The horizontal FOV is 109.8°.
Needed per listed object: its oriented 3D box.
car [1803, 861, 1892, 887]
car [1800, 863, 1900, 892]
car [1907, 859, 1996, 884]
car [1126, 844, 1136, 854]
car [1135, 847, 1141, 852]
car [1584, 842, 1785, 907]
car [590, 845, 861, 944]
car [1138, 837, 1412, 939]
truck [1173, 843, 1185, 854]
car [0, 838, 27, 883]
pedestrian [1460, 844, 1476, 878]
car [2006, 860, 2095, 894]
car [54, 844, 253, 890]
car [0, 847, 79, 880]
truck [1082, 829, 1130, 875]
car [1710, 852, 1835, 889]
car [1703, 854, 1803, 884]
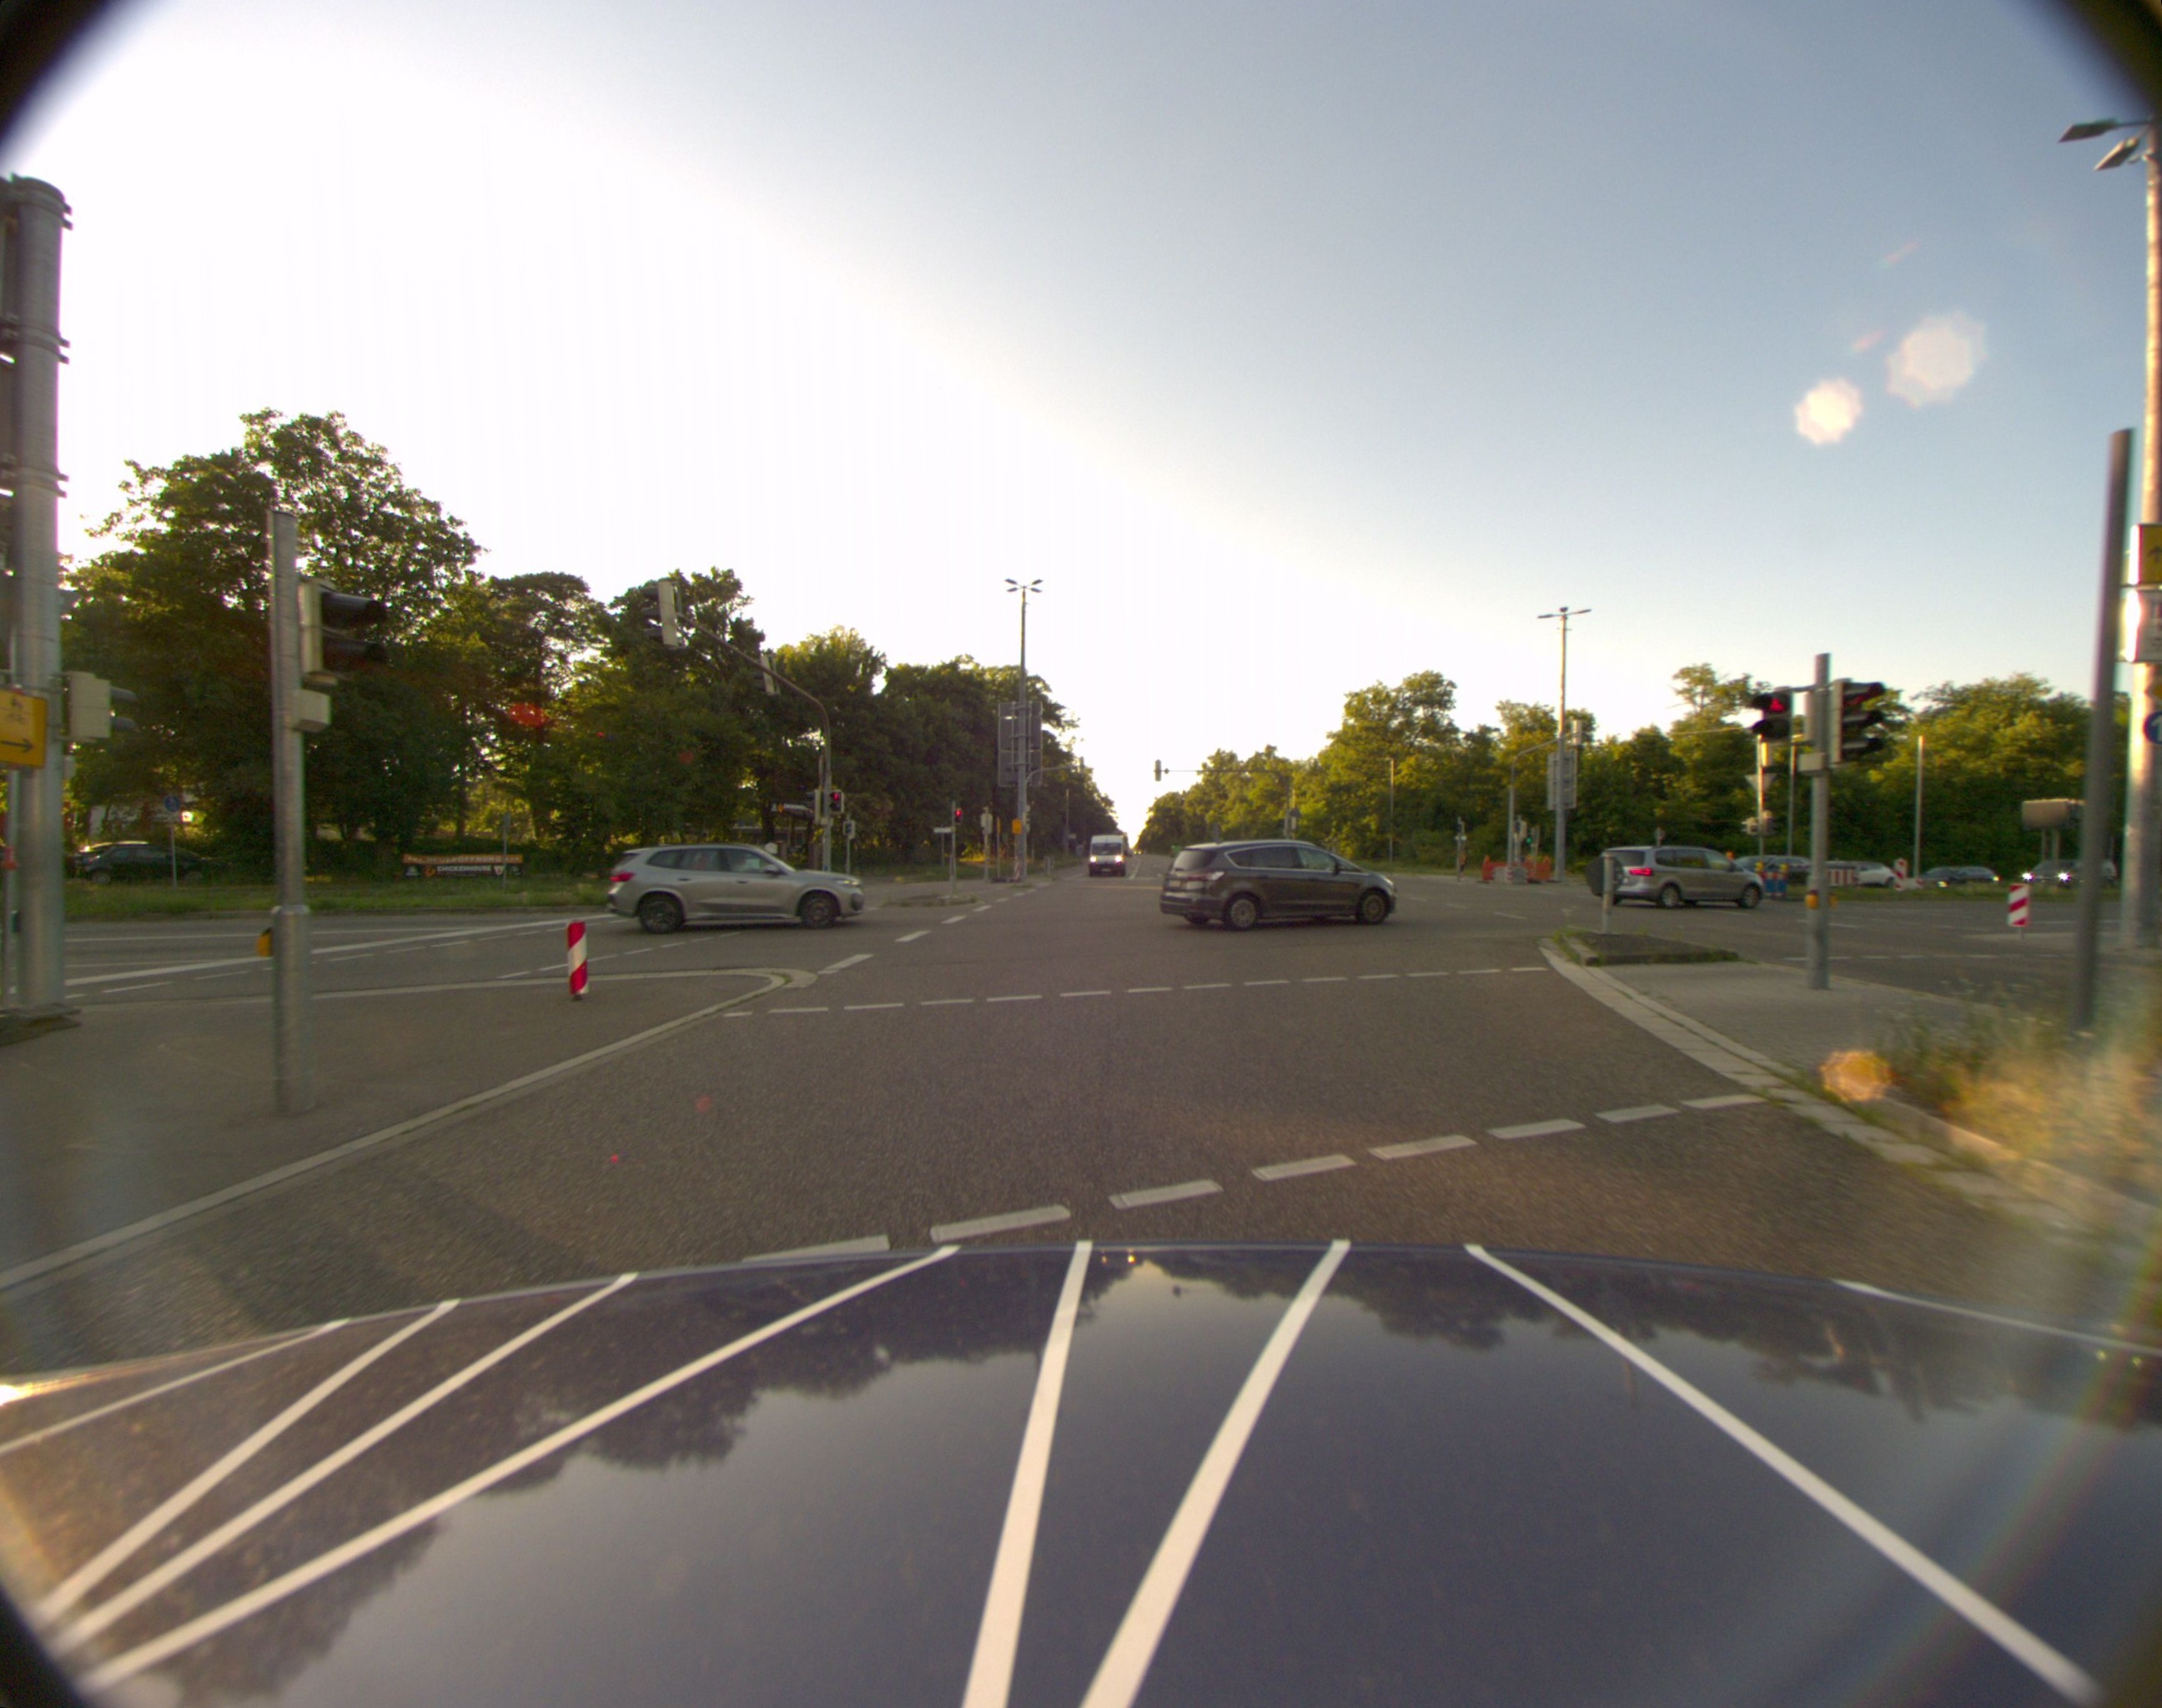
[{"bbox_3d":[45.259,1.183,44.888,4.235,1.447,1.720,0,1,-13],"label":"car"},{"bbox_3d":[40.454,1.213,39.993,4.235,1.447,1.720,0,1,-13],"label":"car"},{"bbox_3d":[53.422,1.075,46.645,4.403,1.447,1.720,0,1,-13],"label":"car"},{"bbox_3d":[10.645,-1.087,161.799,1.998,2.003,3.998,0,2,1],"label":"car"},{"bbox_3d":[19.463,-1.538,259.222,1.845,1.587,4.207,0,2,3],"label":"car"},{"bbox_3d":[16.955,0.547,21.433,4.661,1.714,1.870,0,0,-11],"label":"car"},{"bbox_3d":[-6.589,0.674,14.609,4.401,1.615,1.996,0,3,-20],"label":"car"},{"bbox_3d":[3.725,0.546,14.702,4.825,1.652,2.008,-1,3,-19],"label":"car"},{"bbox_3d":[19.805,-1.146,153.911,1.998,2.109,4.000,0,1,2],"label":"truck"},{"bbox_3d":[-41.737,0.247,27.062,4.553,1.649,1.861,0,1,-24],"label":"car"},{"bbox_3d":[20.908,0.360,41.047,0.574,1.790,0.751,1,2,44],"label":"pedestrian"},{"bbox_3d":[61.583,1.432,48.279,4.235,2.013,1.881,0,1,-14],"label":"car"},{"bbox_3d":[-35.746,0.470,29.500,4.556,1.648,1.860,0,1,-33],"label":"car"},{"bbox_3d":[-46.270,0.394,32.000,4.553,1.399,1.861,0,1,-24],"label":"car"},{"bbox_3d":[1.428,-0.099,45.922,2.603,2.542,6.023,-2,0,0],"label":"truck"},{"bbox_3d":[28.807,0.659,31.704,4.235,1.447,1.720,0,1,-13],"label":"car"},{"bbox_3d":[34.615,0.761,39.159,4.235,1.447,1.720,0,1,-13],"label":"car"}]
